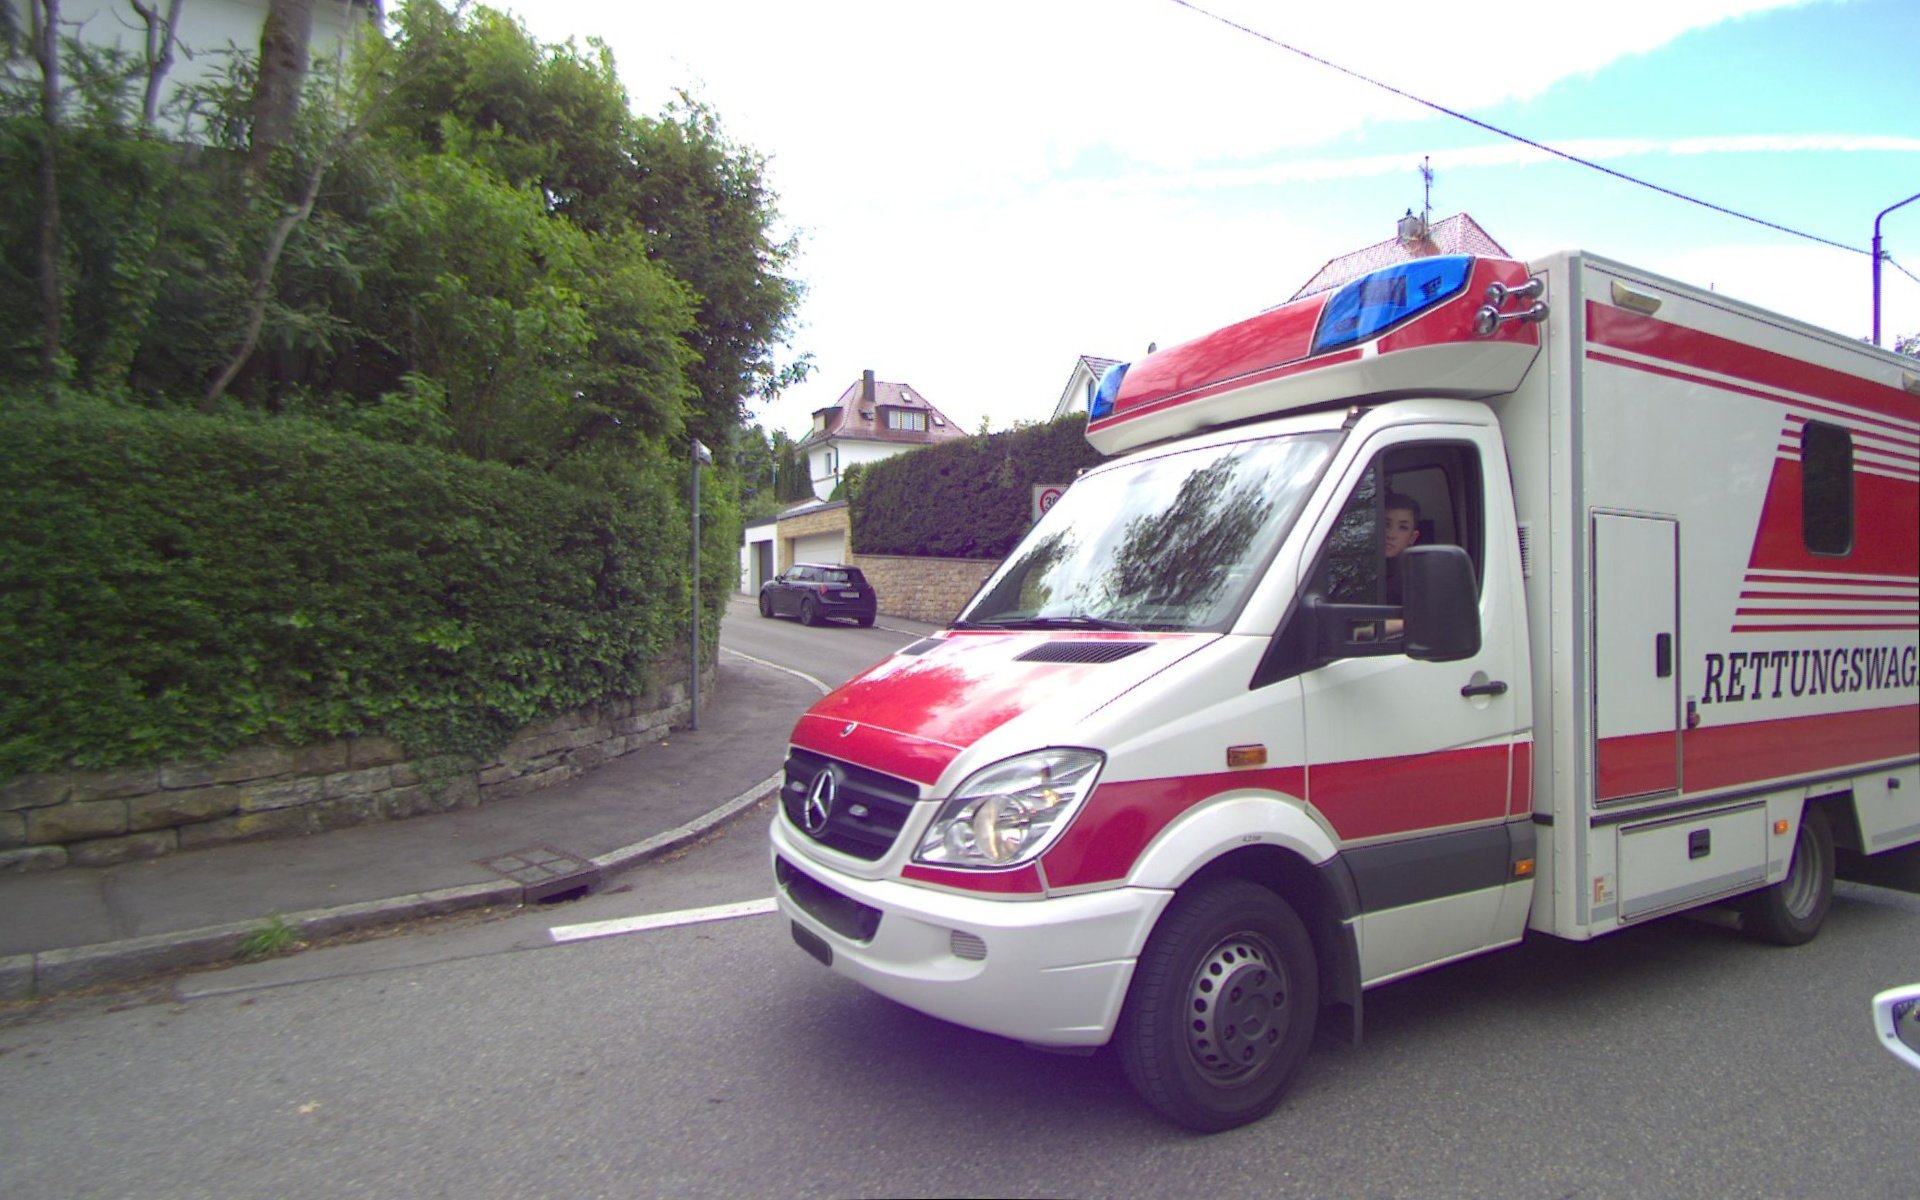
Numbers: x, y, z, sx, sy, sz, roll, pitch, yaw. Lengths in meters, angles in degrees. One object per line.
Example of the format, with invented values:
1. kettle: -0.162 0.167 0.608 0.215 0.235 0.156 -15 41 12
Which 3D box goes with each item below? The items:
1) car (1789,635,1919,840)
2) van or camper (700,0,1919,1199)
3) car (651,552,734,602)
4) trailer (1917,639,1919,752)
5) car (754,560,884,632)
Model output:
1. car: 8.859 1.053 8.424 4.426 1.465 1.753 2 -1 -34
2. van or camper: 2.542 0.112 5.097 7.083 2.933 2.445 1 -1 -30
3. car: -9.250 -0.822 34.548 1.720 1.493 3.966 2 3 -31
4. trailer: 15.131 1.314 13.761 4.420 1.516 1.755 1 -1 -30
5. car: -3.540 -0.132 24.608 1.720 1.493 3.966 2 3 -31
